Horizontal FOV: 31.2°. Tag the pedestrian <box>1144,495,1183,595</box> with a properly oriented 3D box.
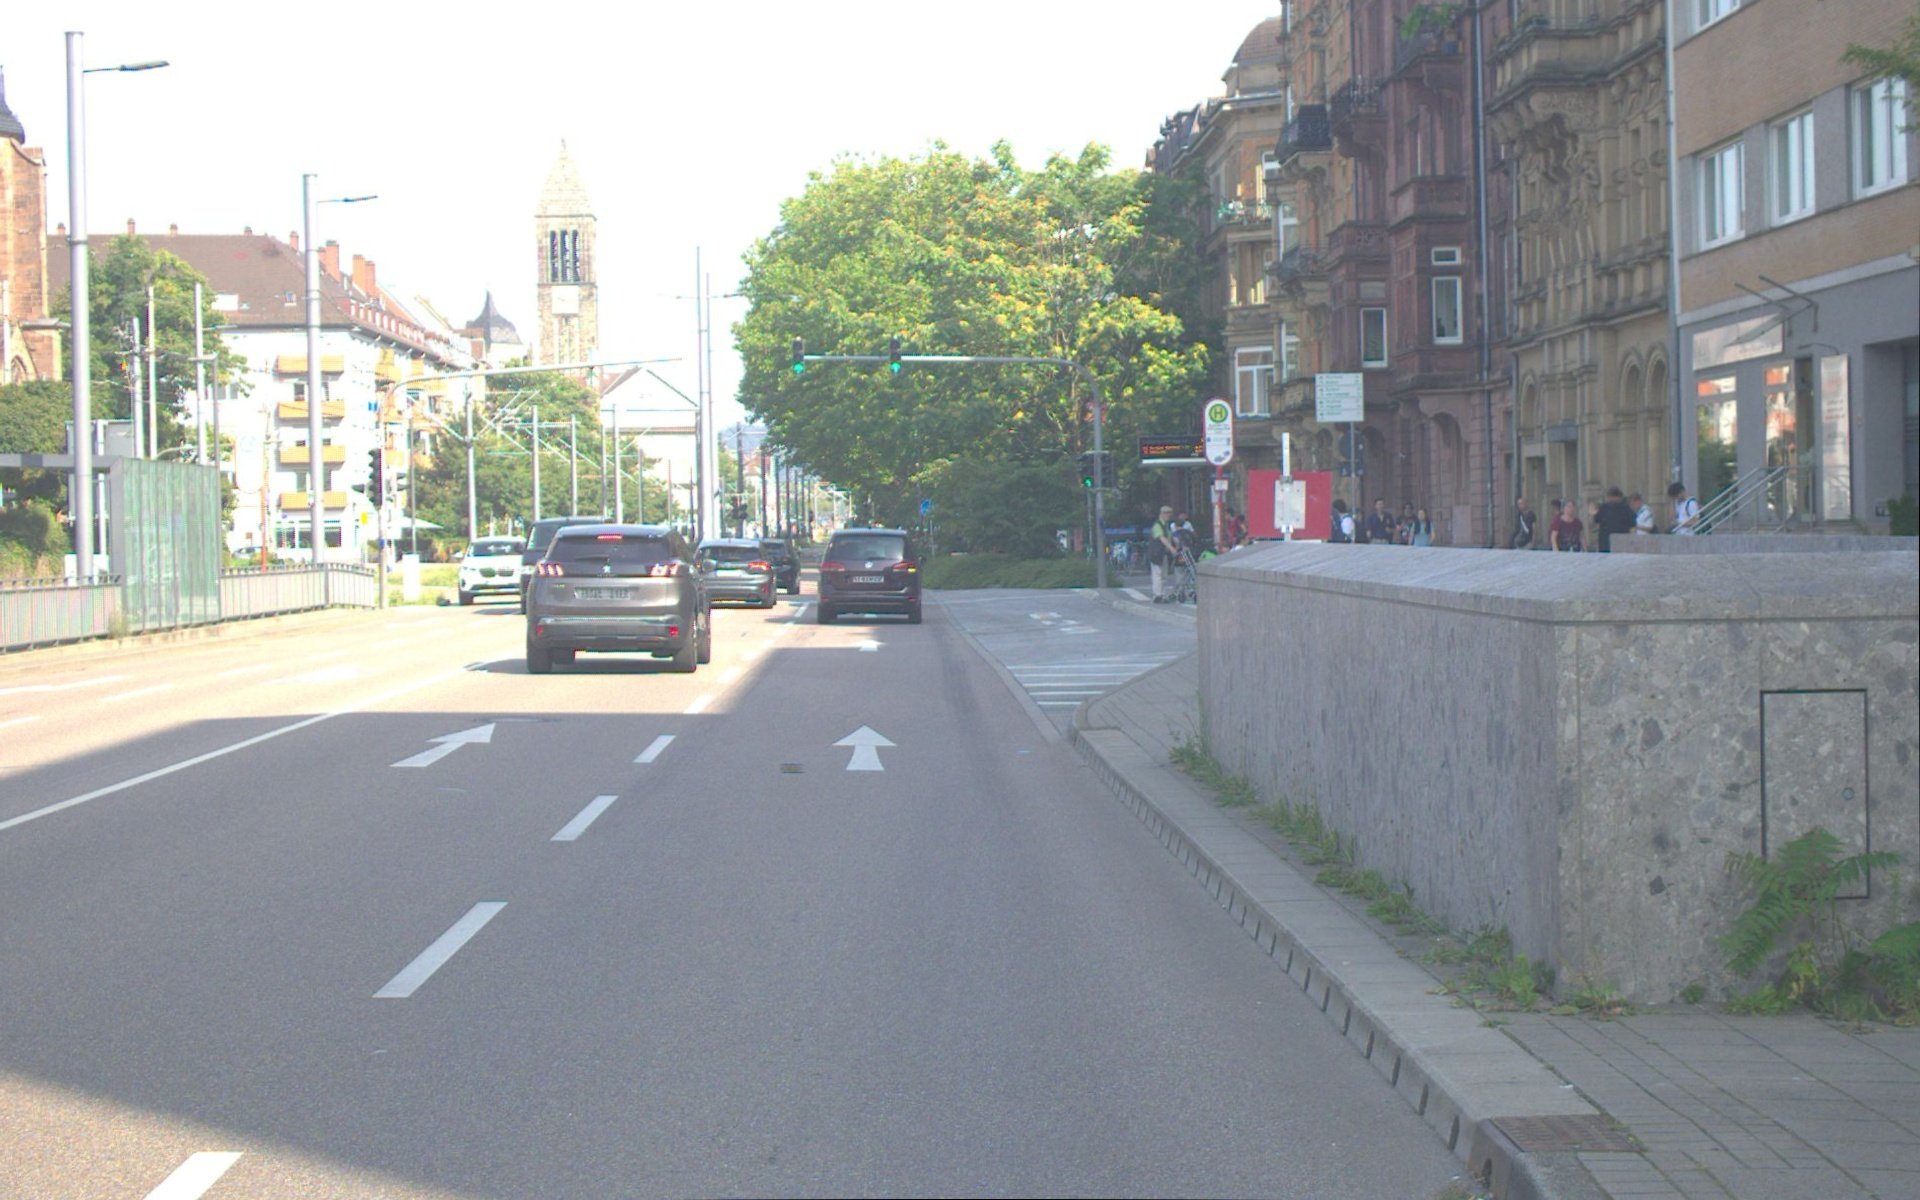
[{"bbox_3d":[3.570,-0.967,60.316,0.565,1.723,0.745,-1,1,-4],"label":"pedestrian"}]

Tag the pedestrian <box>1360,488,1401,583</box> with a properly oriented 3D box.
[{"bbox_3d":[8.061,-1.247,65.927,0.617,1.798,1.071,-1,1,0],"label":"pedestrian"}]

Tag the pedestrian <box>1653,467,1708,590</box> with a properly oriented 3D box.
[{"bbox_3d":[10.853,-1.078,51.828,0.603,1.825,0.742,-1,1,-4],"label":"pedestrian"}]

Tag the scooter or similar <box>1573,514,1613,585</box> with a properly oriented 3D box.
[{"bbox_3d":[10.390,-0.834,56.473,0.360,1.159,1.152,-1,1,-4],"label":"scooter or similar"}]

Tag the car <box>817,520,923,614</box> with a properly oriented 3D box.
[{"bbox_3d":[-1.597,-0.619,62.051,1.831,1.615,4.357,0,2,-1],"label":"car"}]

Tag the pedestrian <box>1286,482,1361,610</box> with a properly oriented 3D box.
[{"bbox_3d":[5.300,-0.794,50.189,0.925,1.825,0.801,-1,1,-4],"label":"pedestrian"}]

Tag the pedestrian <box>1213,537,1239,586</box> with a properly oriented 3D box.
[{"bbox_3d":[4.521,-0.655,58.412,0.303,0.817,0.604,-1,1,-8],"label":"pedestrian"}]

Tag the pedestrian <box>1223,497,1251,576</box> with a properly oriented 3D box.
[{"bbox_3d":[5.978,-1.380,74.271,0.481,1.696,0.703,-1,1,-4],"label":"pedestrian"}]

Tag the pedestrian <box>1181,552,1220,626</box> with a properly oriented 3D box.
[{"bbox_3d":[4.226,-0.190,60.433,0.565,1.273,0.597,-1,1,-5],"label":"pedestrian"}]

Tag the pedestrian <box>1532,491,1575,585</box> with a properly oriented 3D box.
[{"bbox_3d":[10.612,-1.112,61.459,0.603,1.649,0.587,-1,1,-4],"label":"pedestrian"}]

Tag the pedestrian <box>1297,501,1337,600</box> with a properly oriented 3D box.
[{"bbox_3d":[6.251,-0.872,60.155,0.565,1.723,0.617,-1,1,-4],"label":"pedestrian"}]

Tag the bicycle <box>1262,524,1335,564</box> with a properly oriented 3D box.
[{"bbox_3d":[9.324,-1.548,94.822,1.927,1.044,0.500,-1,1,-6],"label":"bicycle"}]

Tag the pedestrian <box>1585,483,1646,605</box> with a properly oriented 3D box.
[{"bbox_3d":[9.772,-0.838,51.297,0.720,1.781,0.856,-1,1,0],"label":"pedestrian"}]

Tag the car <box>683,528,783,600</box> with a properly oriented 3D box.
[{"bbox_3d":[-4.708,-0.775,71.832,1.864,1.419,4.357,0,2,-1],"label":"car"}]

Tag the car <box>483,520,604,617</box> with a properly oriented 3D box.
[{"bbox_3d":[-8.649,-0.691,71.797,1.993,1.897,4.717,-2,1,-1],"label":"car"}]

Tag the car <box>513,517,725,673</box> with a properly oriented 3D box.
[{"bbox_3d":[-3.747,-0.106,38.424,1.993,1.615,4.357,0,2,-1],"label":"car"}]

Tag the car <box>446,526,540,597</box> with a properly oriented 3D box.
[{"bbox_3d":[-11.320,-0.963,83.587,1.713,1.606,4.505,-2,1,-1],"label":"car"}]

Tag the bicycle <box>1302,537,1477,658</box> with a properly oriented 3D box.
[{"bbox_3d":[4.228,-0.026,33.930,1.633,1.144,0.601,-1,1,1],"label":"bicycle"}]

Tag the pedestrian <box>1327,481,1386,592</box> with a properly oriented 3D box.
[{"bbox_3d":[6.253,-0.998,54.241,0.749,1.723,0.801,-1,1,-4],"label":"pedestrian"}]

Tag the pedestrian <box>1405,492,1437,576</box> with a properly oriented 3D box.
[{"bbox_3d":[8.835,-1.270,65.918,0.486,1.604,0.813,-1,1,0],"label":"pedestrian"}]

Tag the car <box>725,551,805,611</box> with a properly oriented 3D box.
[{"bbox_3d":[-4.963,-0.500,87.843,1.864,1.419,4.357,0,2,-1],"label":"car"}]

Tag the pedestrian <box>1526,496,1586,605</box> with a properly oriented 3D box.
[{"bbox_3d":[8.956,-0.747,51.673,0.720,1.604,0.856,-1,1,0],"label":"pedestrian"}]

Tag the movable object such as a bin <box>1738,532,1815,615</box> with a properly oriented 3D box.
[{"bbox_3d":[10.850,-0.360,45.702,0.736,1.077,0.670,-2,1,-18],"label":"movable object such as a bin"}]

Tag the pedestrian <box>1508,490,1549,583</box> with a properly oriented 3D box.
[{"bbox_3d":[10.658,-1.197,64.460,0.629,1.713,0.691,-1,1,-1],"label":"pedestrian"}]

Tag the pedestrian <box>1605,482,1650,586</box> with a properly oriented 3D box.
[{"bbox_3d":[11.208,-1.111,57.708,0.603,1.725,0.511,-1,1,-4],"label":"pedestrian"}]

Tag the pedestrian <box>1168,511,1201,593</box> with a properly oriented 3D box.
[{"bbox_3d":[4.421,-0.947,67.775,0.528,1.606,0.703,-1,1,-4],"label":"pedestrian"}]

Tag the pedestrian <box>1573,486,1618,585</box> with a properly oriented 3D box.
[{"bbox_3d":[10.991,-1.119,59.459,0.603,1.686,0.587,-1,1,-4],"label":"pedestrian"}]

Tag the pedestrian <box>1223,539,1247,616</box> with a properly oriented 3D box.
[{"bbox_3d":[4.589,-0.380,57.403,0.275,1.270,0.448,-1,1,-8],"label":"pedestrian"}]

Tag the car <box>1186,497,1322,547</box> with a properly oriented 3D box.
[{"bbox_3d":[9.750,-2.581,114.122,4.179,1.558,2.000,-1,1,-5],"label":"car"}]

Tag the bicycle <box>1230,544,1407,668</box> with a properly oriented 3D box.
[{"bbox_3d":[3.463,0.051,33.192,1.632,1.144,0.385,-1,1,-6],"label":"bicycle"}]
